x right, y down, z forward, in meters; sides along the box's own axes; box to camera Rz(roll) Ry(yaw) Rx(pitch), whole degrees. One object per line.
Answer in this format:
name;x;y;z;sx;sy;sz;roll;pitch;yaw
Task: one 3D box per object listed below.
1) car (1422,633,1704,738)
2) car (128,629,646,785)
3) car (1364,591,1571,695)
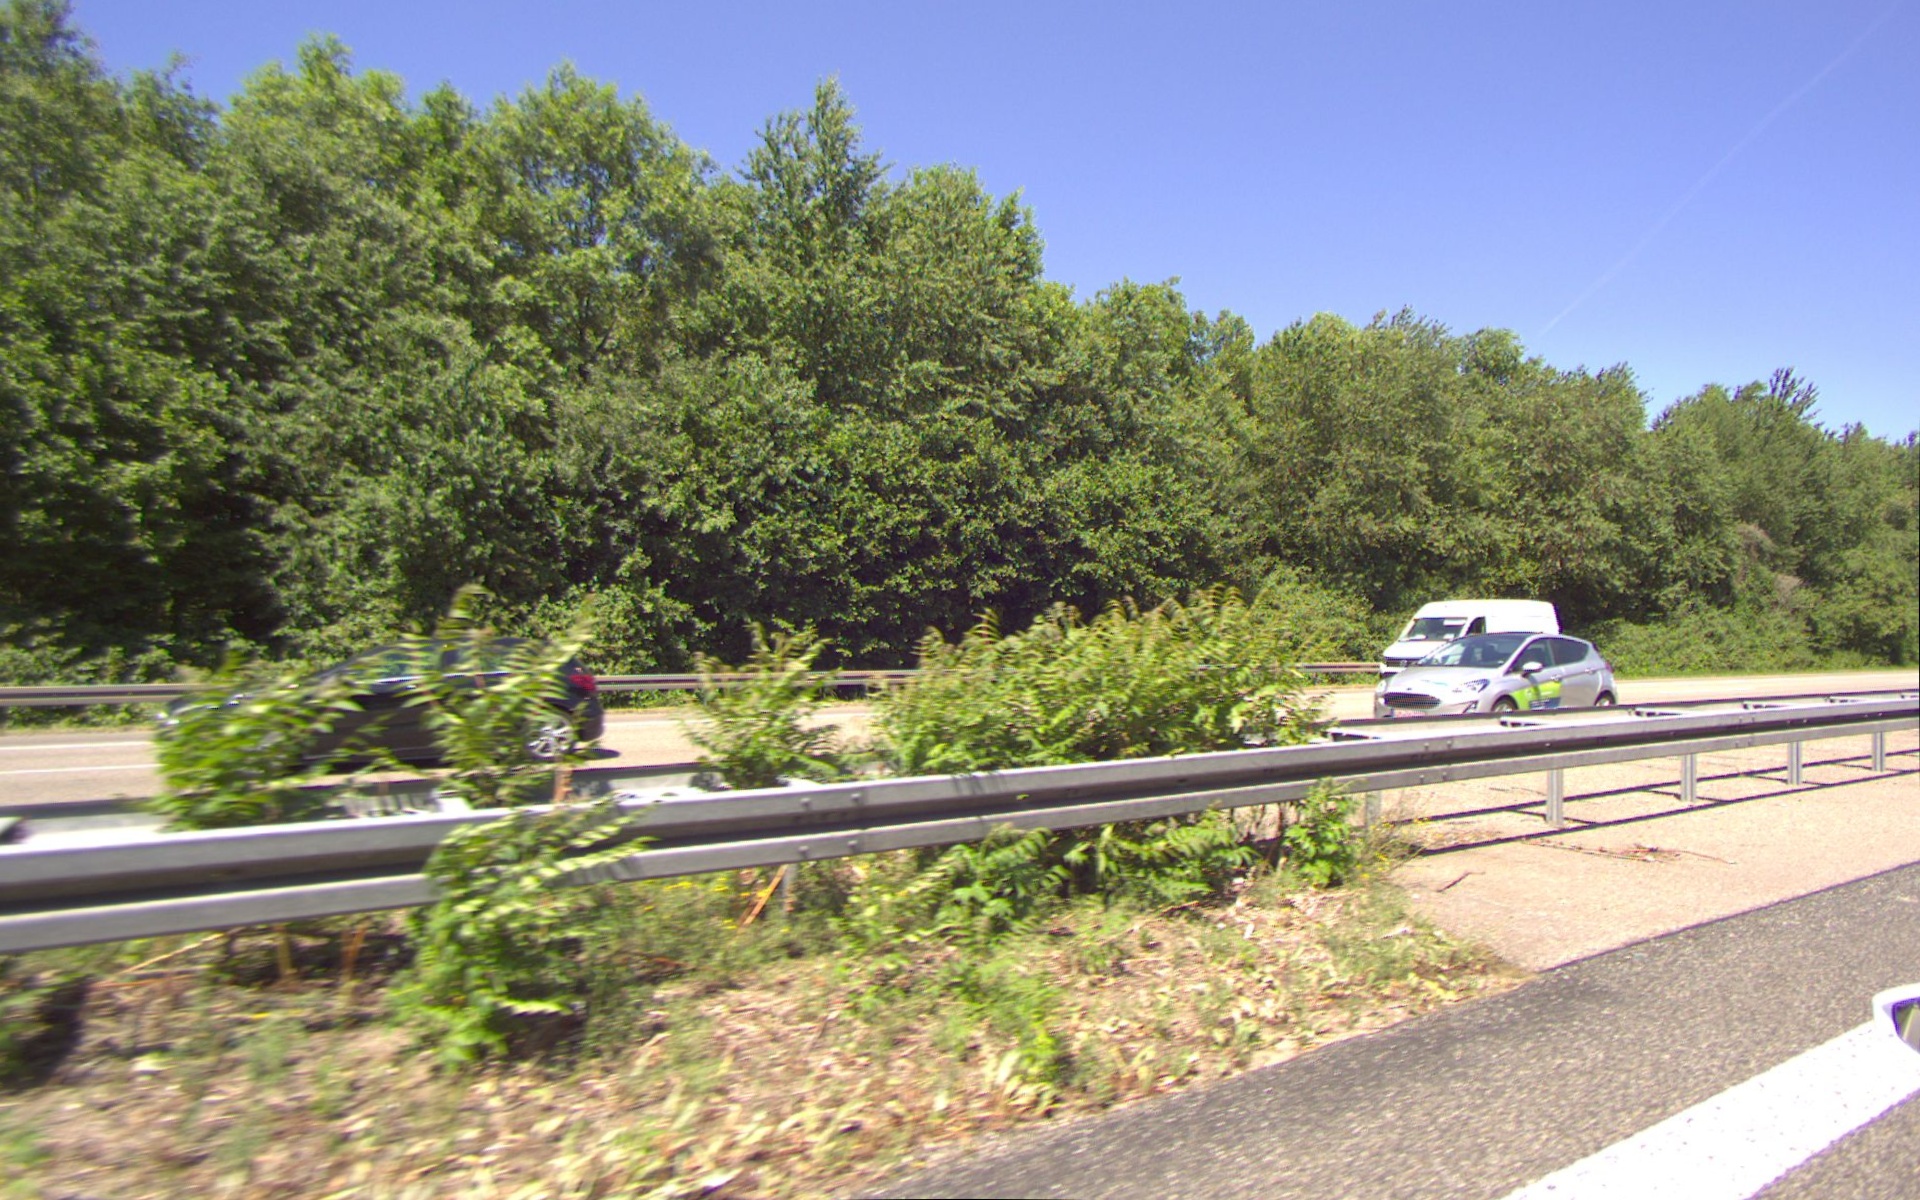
car;9.247;1.220;15.342;4.376;1.401;1.830;1;-2;-30
car;-6.053;1.052;11.148;4.653;1.421;1.659;1;-2;-31
car;14.004;1.168;27.591;6.154;2.586;2.077;1;-2;-31
